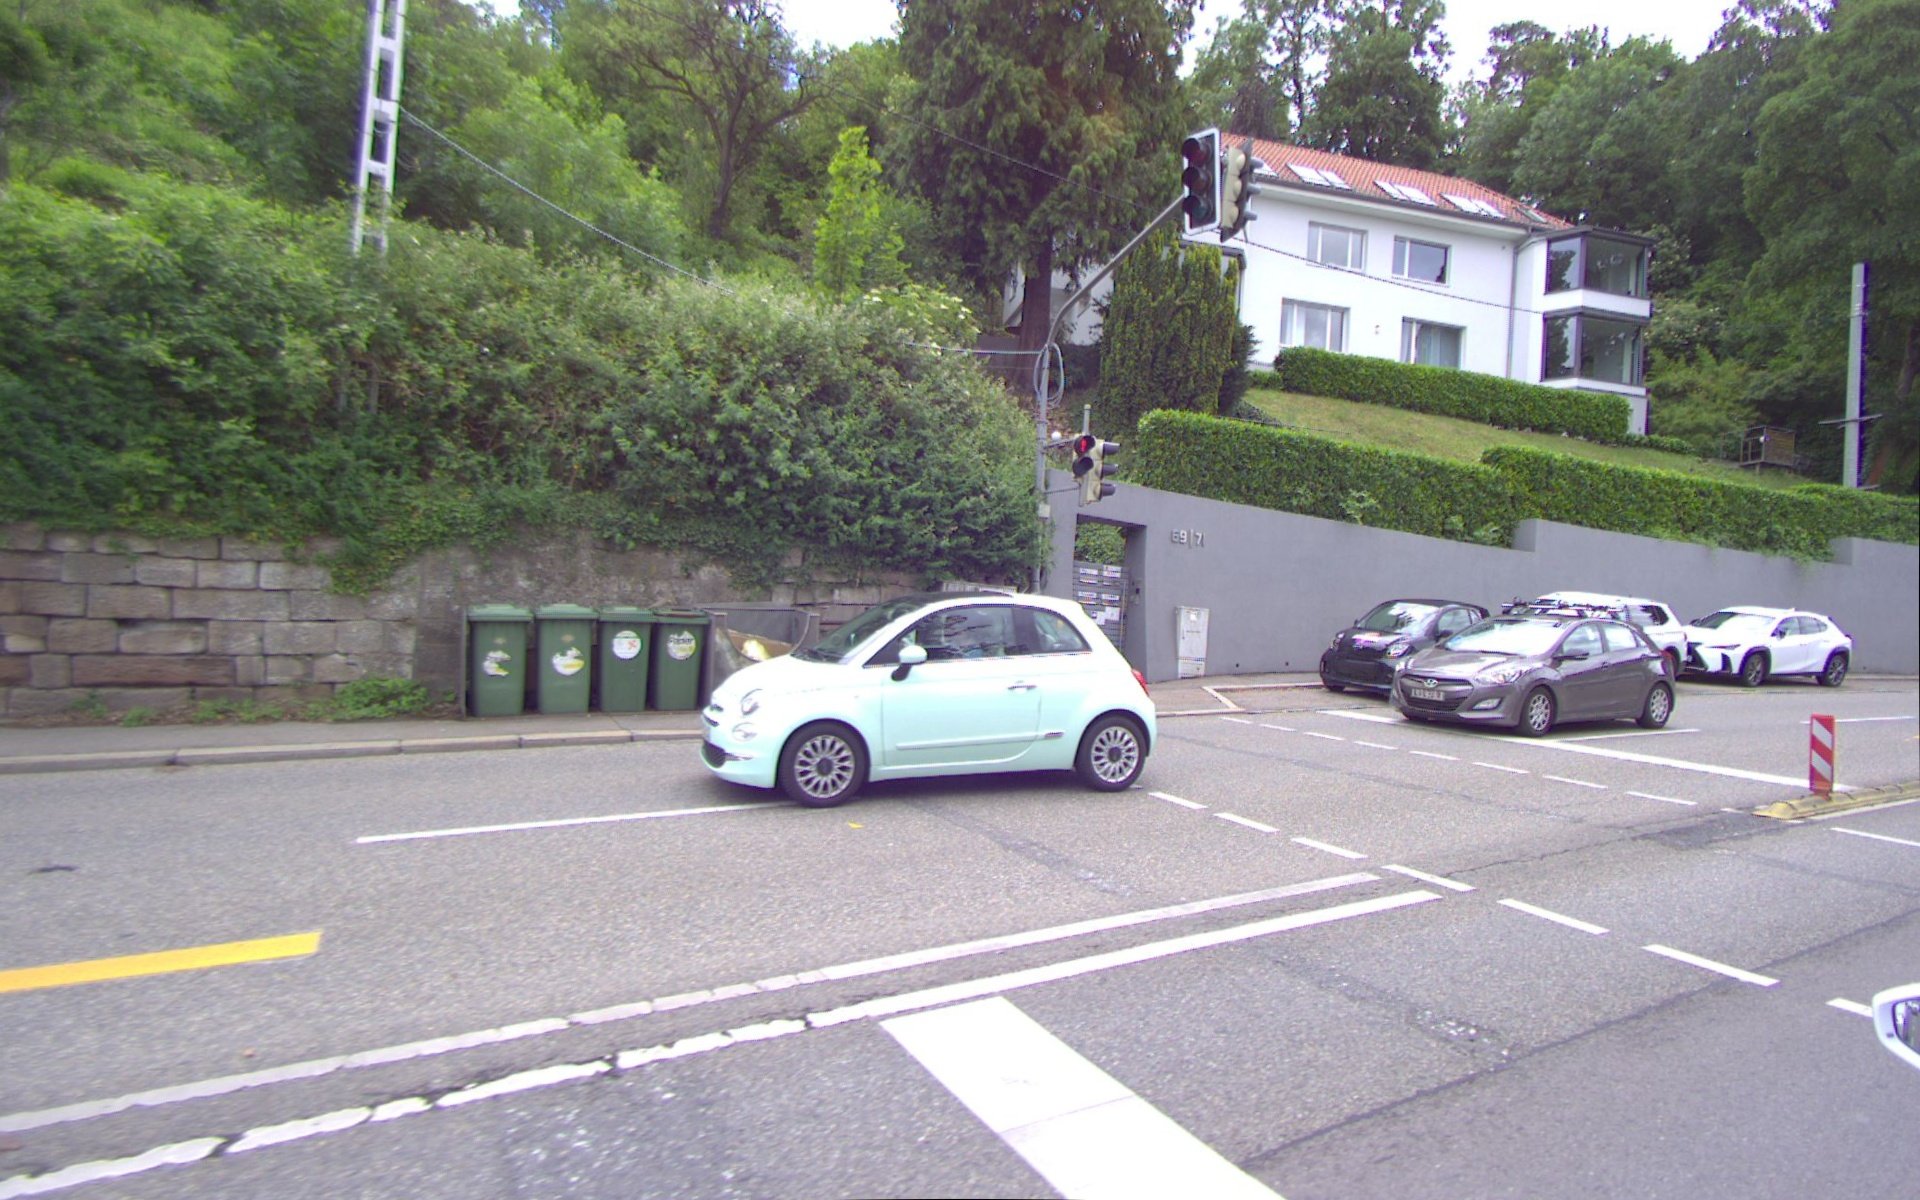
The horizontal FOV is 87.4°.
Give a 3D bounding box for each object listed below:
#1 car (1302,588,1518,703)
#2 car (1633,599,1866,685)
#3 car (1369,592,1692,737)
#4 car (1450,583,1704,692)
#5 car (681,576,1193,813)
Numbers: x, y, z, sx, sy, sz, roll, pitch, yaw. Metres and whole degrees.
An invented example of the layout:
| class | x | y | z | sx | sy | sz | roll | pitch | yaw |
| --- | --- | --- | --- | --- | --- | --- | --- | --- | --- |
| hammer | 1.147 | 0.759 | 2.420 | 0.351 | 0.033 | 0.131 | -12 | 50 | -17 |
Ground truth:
| class | x | y | z | sx | sy | sz | roll | pitch | yaw |
| --- | --- | --- | --- | --- | --- | --- | --- | --- | --- |
| car | 7.221 | 0.666 | 16.127 | 2.922 | 1.594 | 1.703 | 0 | 4 | -30 |
| car | 16.567 | 0.882 | 21.090 | 4.409 | 1.593 | 1.829 | 2 | 1 | -21 |
| car | 7.468 | 0.781 | 13.082 | 4.155 | 1.619 | 1.704 | 2 | 0 | -29 |
| car | 11.487 | 0.678 | 18.652 | 4.702 | 1.754 | 1.851 | 2 | 2 | -28 |
| car | -0.211 | 0.620 | 7.833 | 3.607 | 1.486 | 1.707 | 1 | 1 | -22 |
